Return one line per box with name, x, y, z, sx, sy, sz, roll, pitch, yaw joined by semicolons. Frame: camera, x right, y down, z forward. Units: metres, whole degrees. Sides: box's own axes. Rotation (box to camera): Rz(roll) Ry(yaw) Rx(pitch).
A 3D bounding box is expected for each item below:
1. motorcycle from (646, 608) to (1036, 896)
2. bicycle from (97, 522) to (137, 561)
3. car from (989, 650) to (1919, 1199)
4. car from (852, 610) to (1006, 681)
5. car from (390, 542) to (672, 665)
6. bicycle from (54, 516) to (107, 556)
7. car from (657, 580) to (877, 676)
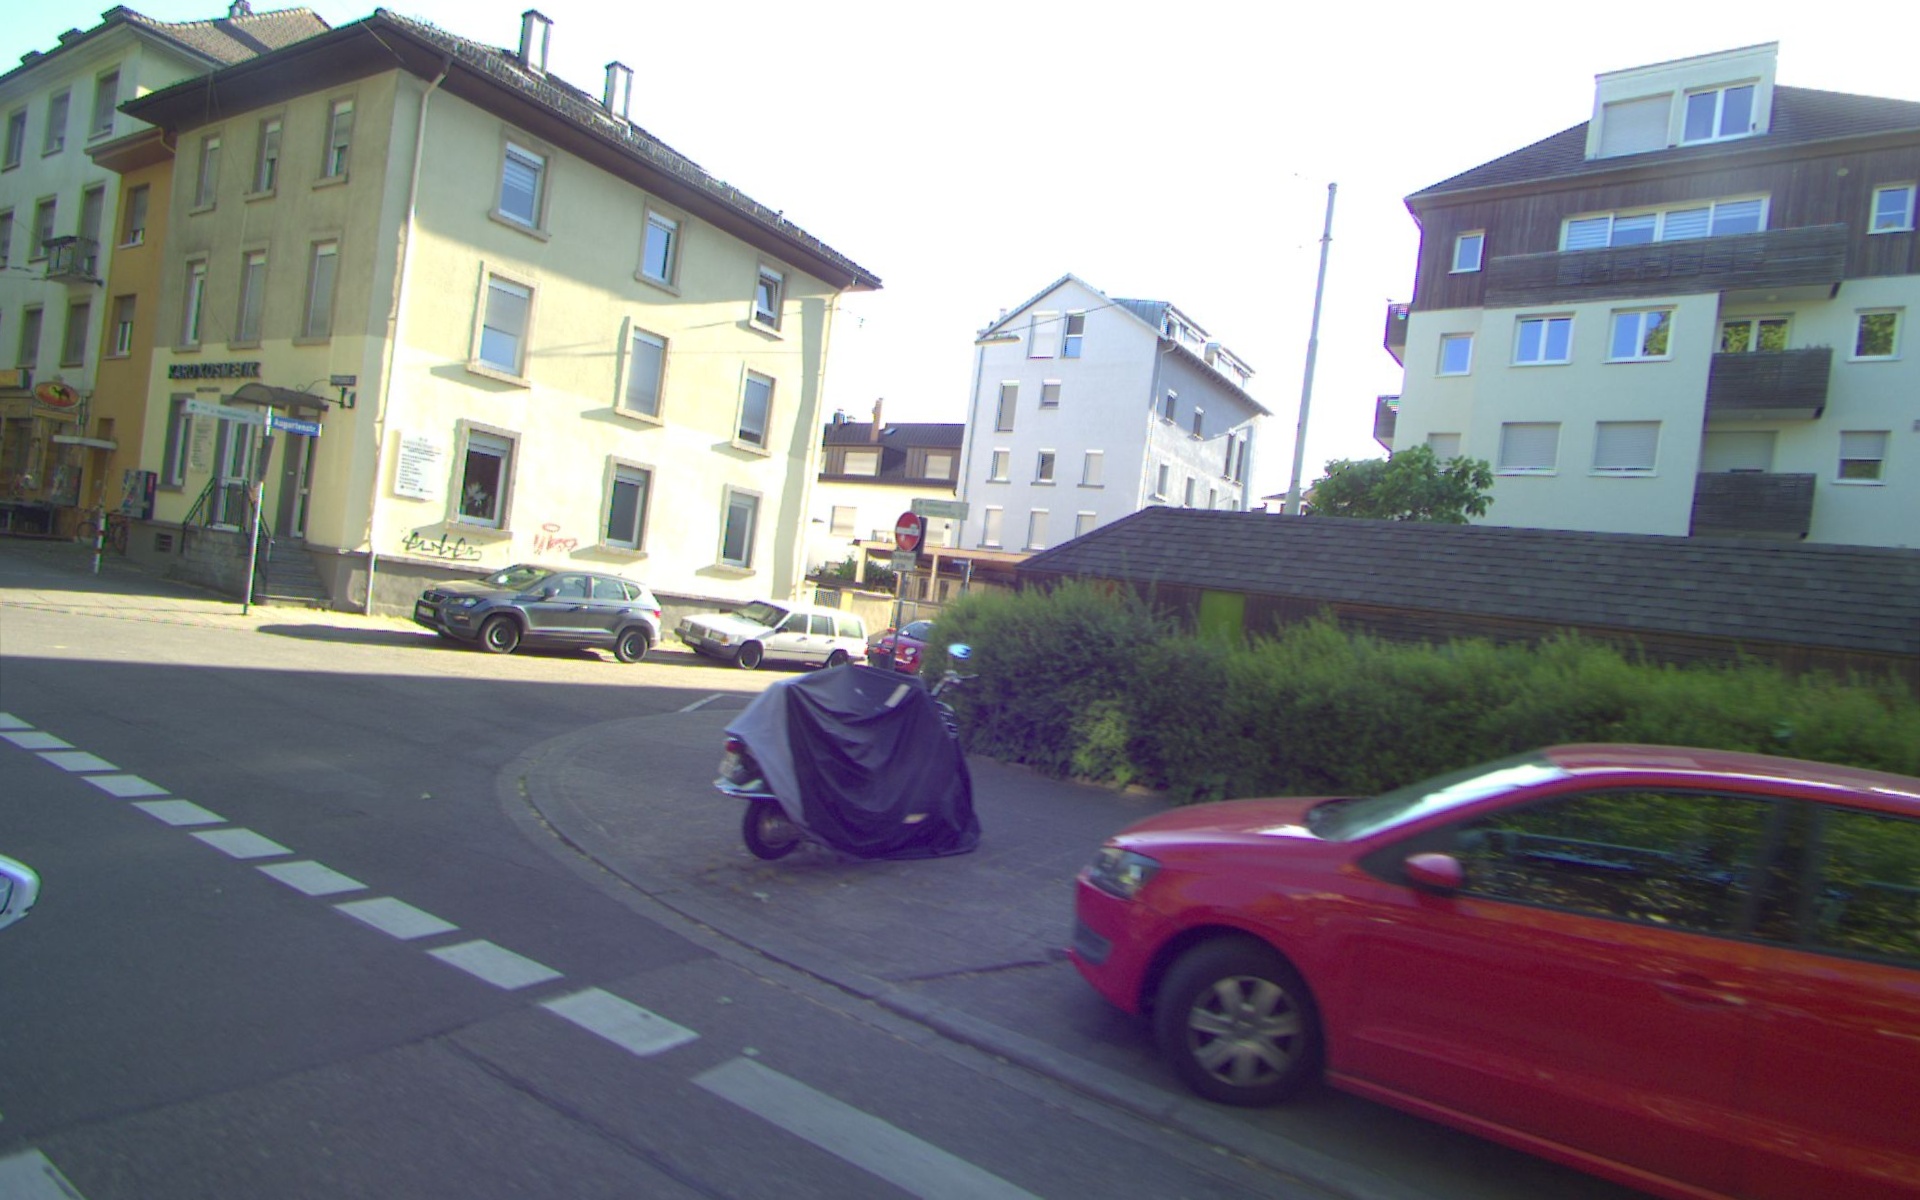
motorcycle;-0.648;0.844;6.037;2.082;1.376;0.913;6;0;-42
bicycle;-20.339;-1.420;24.262;1.768;0.798;0.473;6;-2;44
car;2.274;1.151;3.555;3.911;1.442;1.703;7;2;30
car;-0.768;1.297;27.748;1.990;1.451;4.260;7;-1;35
car;-7.564;0.132;18.110;1.860;1.616;4.192;7;-2;35
bicycle;-21.494;-1.572;24.585;1.762;0.798;0.410;7;-1;32
car;-4.304;0.716;23.257;1.885;1.560;4.943;7;-2;35
